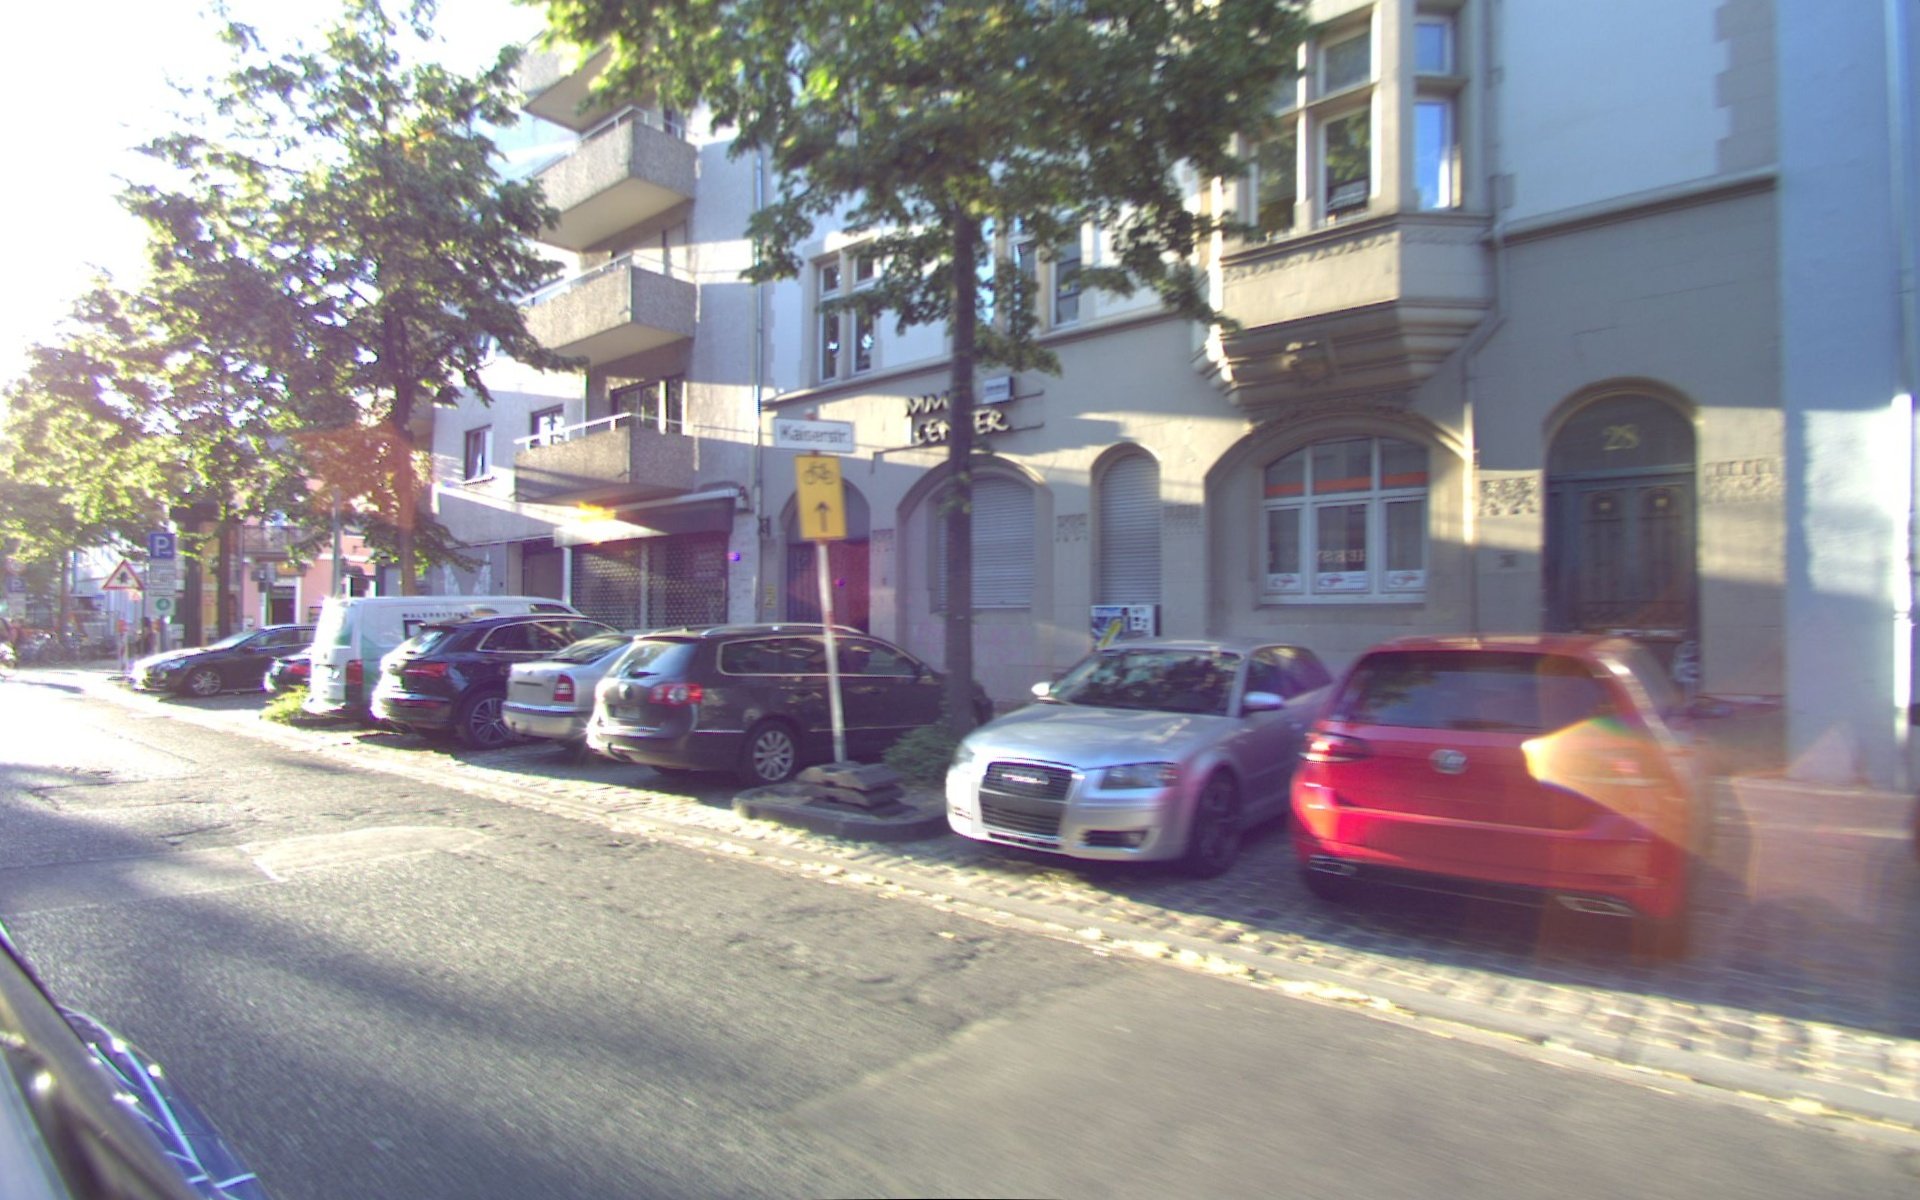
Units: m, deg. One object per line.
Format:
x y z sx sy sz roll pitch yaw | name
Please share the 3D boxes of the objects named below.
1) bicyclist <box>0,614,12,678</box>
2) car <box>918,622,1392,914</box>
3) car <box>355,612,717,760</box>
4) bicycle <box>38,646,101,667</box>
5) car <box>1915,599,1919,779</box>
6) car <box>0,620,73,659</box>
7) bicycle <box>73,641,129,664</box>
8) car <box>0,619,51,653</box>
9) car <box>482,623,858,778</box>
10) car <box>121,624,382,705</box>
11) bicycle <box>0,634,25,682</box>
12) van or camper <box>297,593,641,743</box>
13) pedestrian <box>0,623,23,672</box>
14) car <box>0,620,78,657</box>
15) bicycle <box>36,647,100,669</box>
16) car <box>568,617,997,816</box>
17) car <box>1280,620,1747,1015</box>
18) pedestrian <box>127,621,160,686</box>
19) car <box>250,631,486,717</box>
-27.360 1.286 28.441 0.532 1.807 0.867 -1 -2 16 | bicyclist
1.642 0.906 7.254 1.741 1.397 4.003 -2 -1 37 | car
-5.528 1.016 13.597 1.732 1.681 4.137 -1 -1 43 | car
-34.152 2.157 38.850 1.770 0.771 0.408 1 -2 -37 | bicycle
5.657 0.745 4.457 1.742 1.579 3.828 -1 -2 38 | car
-46.321 1.935 49.370 1.813 1.857 4.383 -1 -1 40 | car
-34.682 2.117 40.886 0.441 0.870 1.789 -1 -2 16 | bicycle
-53.869 2.036 56.563 1.813 1.857 4.383 -1 -1 40 | car
-3.329 1.054 12.273 1.731 1.453 4.140 0 0 41 | car
-15.390 1.322 22.192 1.813 1.536 4.383 -1 -1 40 | car
-27.400 1.625 28.353 0.402 1.353 1.821 -1 -2 15 | bicycle
-7.368 0.949 15.560 1.789 1.971 4.411 -2 -2 42 | van or camper
-33.526 1.634 35.322 0.787 1.693 0.895 0 -2 4 | pedestrian
-48.193 1.963 51.800 1.813 1.857 4.383 -1 -1 40 | car
-33.460 2.157 37.985 1.770 0.771 0.408 1 -2 -37 | bicycle
-1.614 0.977 10.329 1.744 1.548 4.138 -1 0 42 | car
3.422 0.861 5.860 1.742 1.468 3.828 -1 -2 38 | car
-21.194 1.370 26.265 0.721 1.660 0.542 -2 -2 44 | pedestrian
-10.993 1.309 18.945 1.512 1.424 3.535 -1 -1 43 | car
